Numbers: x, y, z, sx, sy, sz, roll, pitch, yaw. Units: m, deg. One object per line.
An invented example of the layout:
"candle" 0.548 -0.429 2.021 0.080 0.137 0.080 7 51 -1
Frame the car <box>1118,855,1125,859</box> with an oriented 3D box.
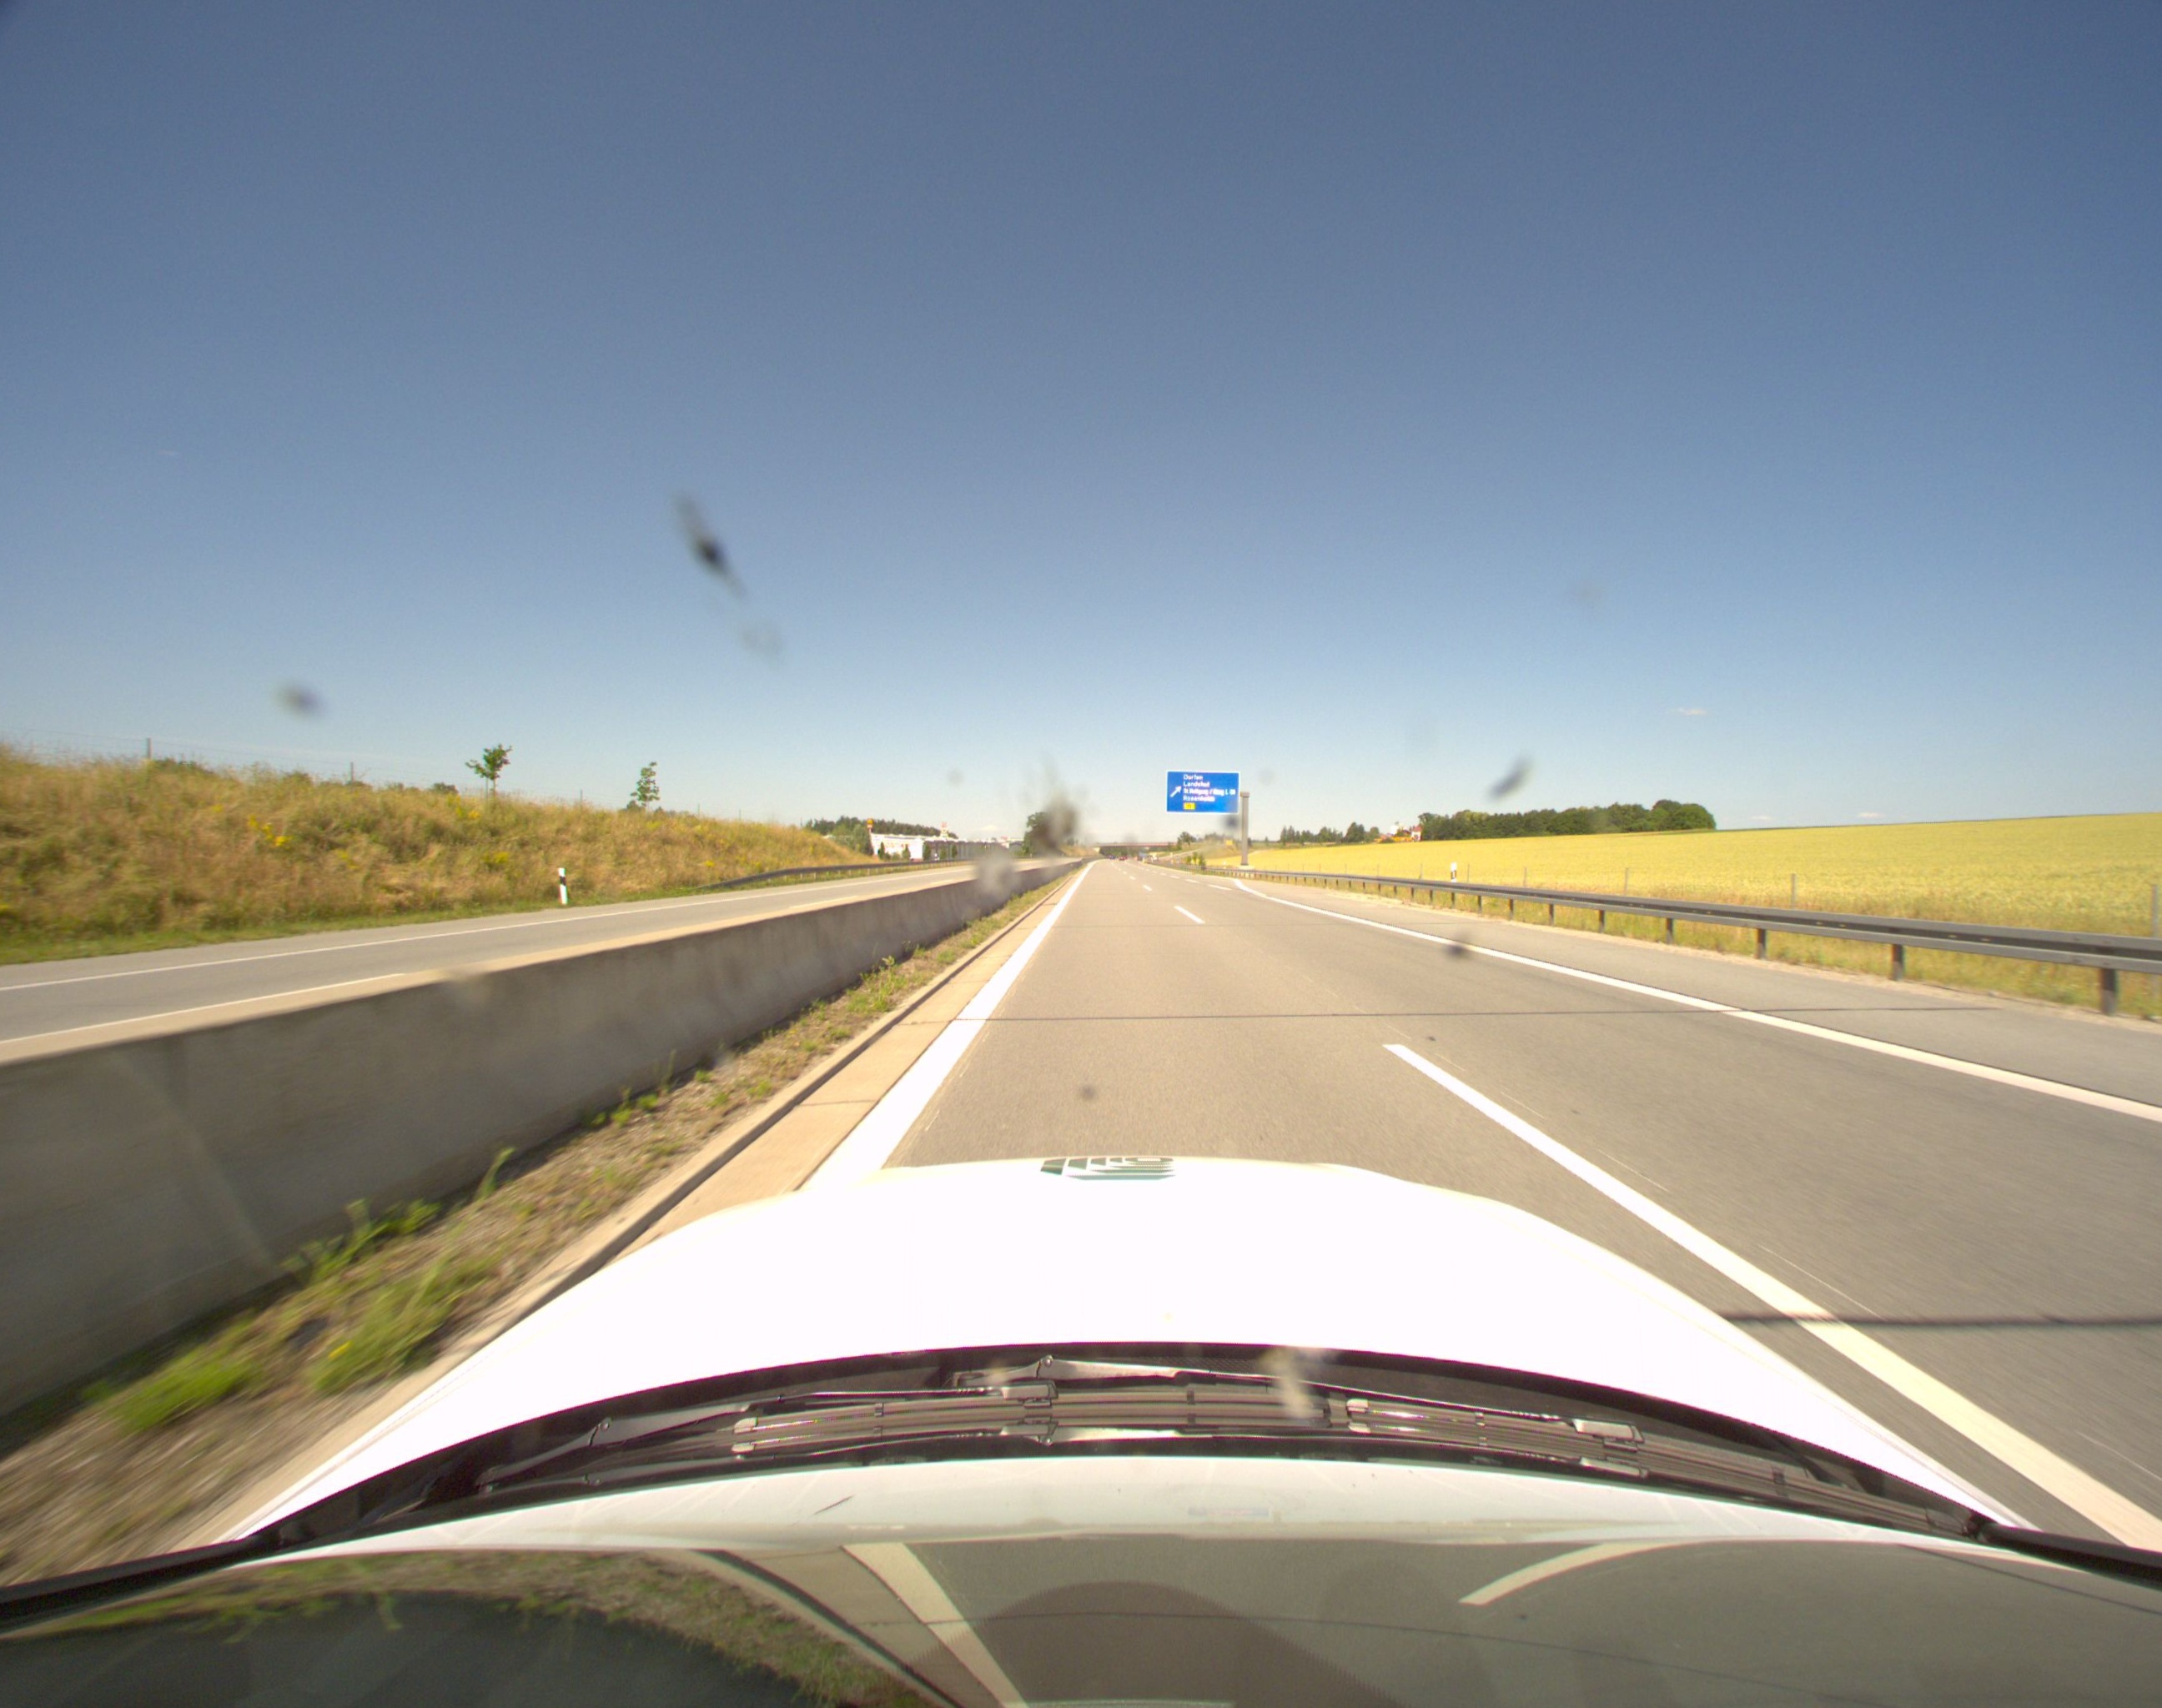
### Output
"car" 12.980 0.905 260.072 1.984 1.420 4.006 0 0 5
